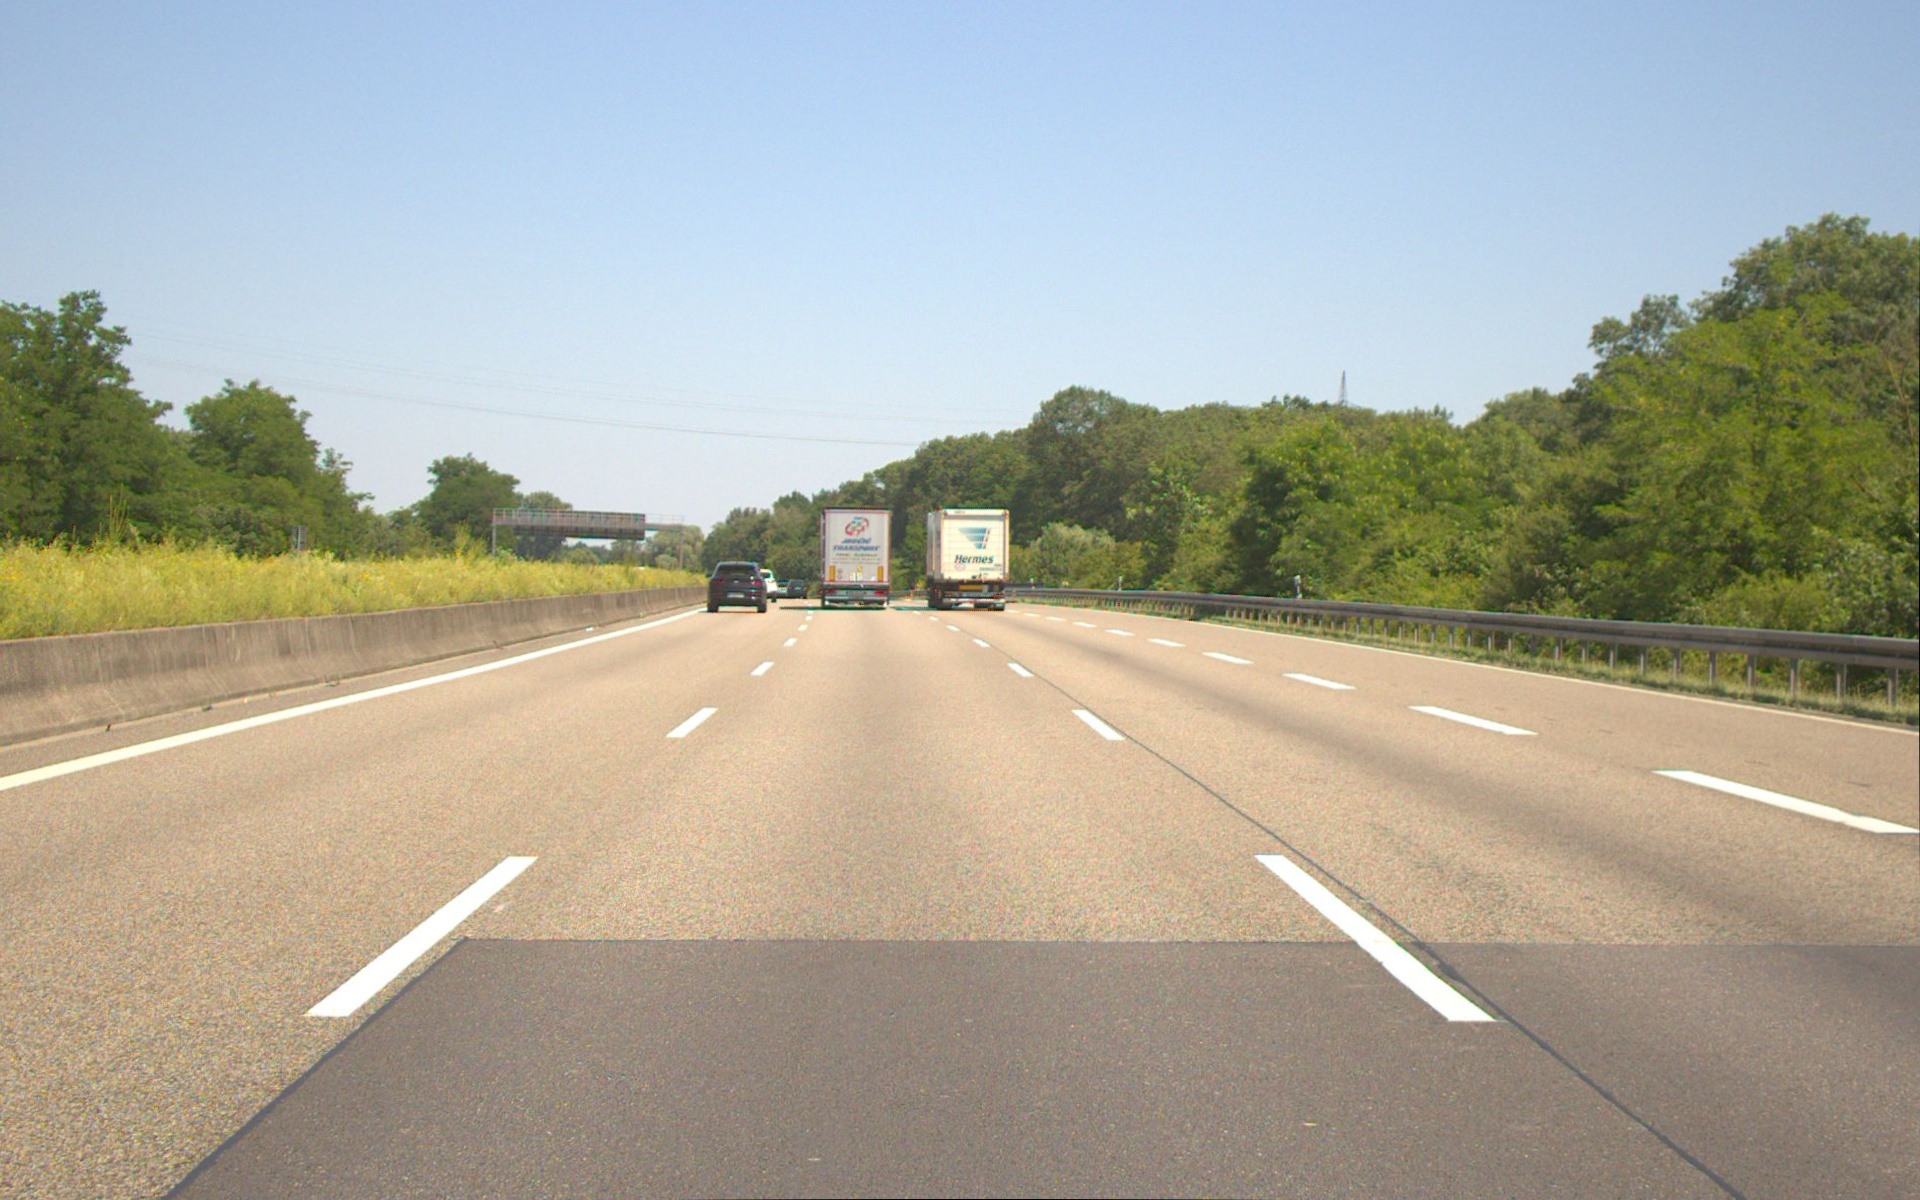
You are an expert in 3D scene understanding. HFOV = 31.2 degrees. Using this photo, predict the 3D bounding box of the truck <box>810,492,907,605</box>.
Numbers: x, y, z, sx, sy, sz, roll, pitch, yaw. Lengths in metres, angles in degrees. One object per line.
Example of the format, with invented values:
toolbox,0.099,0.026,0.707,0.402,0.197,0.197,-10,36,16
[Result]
truck,-4.013,-2.014,133.631,3.229,4.187,8.467,1,1,-5

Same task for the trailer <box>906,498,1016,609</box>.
trailer,-0.039,-1.852,133.832,3.367,4.128,9.093,1,1,-5

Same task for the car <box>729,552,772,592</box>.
car,-10.555,-1.425,173.319,1.993,1.868,4.001,2,1,-5

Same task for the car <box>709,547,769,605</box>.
car,-7.579,-0.831,117.665,1.993,1.868,4.001,1,1,-4

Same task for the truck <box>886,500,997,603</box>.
truck,-0.862,-2.045,141.712,3.325,4.039,10.956,1,1,-7
